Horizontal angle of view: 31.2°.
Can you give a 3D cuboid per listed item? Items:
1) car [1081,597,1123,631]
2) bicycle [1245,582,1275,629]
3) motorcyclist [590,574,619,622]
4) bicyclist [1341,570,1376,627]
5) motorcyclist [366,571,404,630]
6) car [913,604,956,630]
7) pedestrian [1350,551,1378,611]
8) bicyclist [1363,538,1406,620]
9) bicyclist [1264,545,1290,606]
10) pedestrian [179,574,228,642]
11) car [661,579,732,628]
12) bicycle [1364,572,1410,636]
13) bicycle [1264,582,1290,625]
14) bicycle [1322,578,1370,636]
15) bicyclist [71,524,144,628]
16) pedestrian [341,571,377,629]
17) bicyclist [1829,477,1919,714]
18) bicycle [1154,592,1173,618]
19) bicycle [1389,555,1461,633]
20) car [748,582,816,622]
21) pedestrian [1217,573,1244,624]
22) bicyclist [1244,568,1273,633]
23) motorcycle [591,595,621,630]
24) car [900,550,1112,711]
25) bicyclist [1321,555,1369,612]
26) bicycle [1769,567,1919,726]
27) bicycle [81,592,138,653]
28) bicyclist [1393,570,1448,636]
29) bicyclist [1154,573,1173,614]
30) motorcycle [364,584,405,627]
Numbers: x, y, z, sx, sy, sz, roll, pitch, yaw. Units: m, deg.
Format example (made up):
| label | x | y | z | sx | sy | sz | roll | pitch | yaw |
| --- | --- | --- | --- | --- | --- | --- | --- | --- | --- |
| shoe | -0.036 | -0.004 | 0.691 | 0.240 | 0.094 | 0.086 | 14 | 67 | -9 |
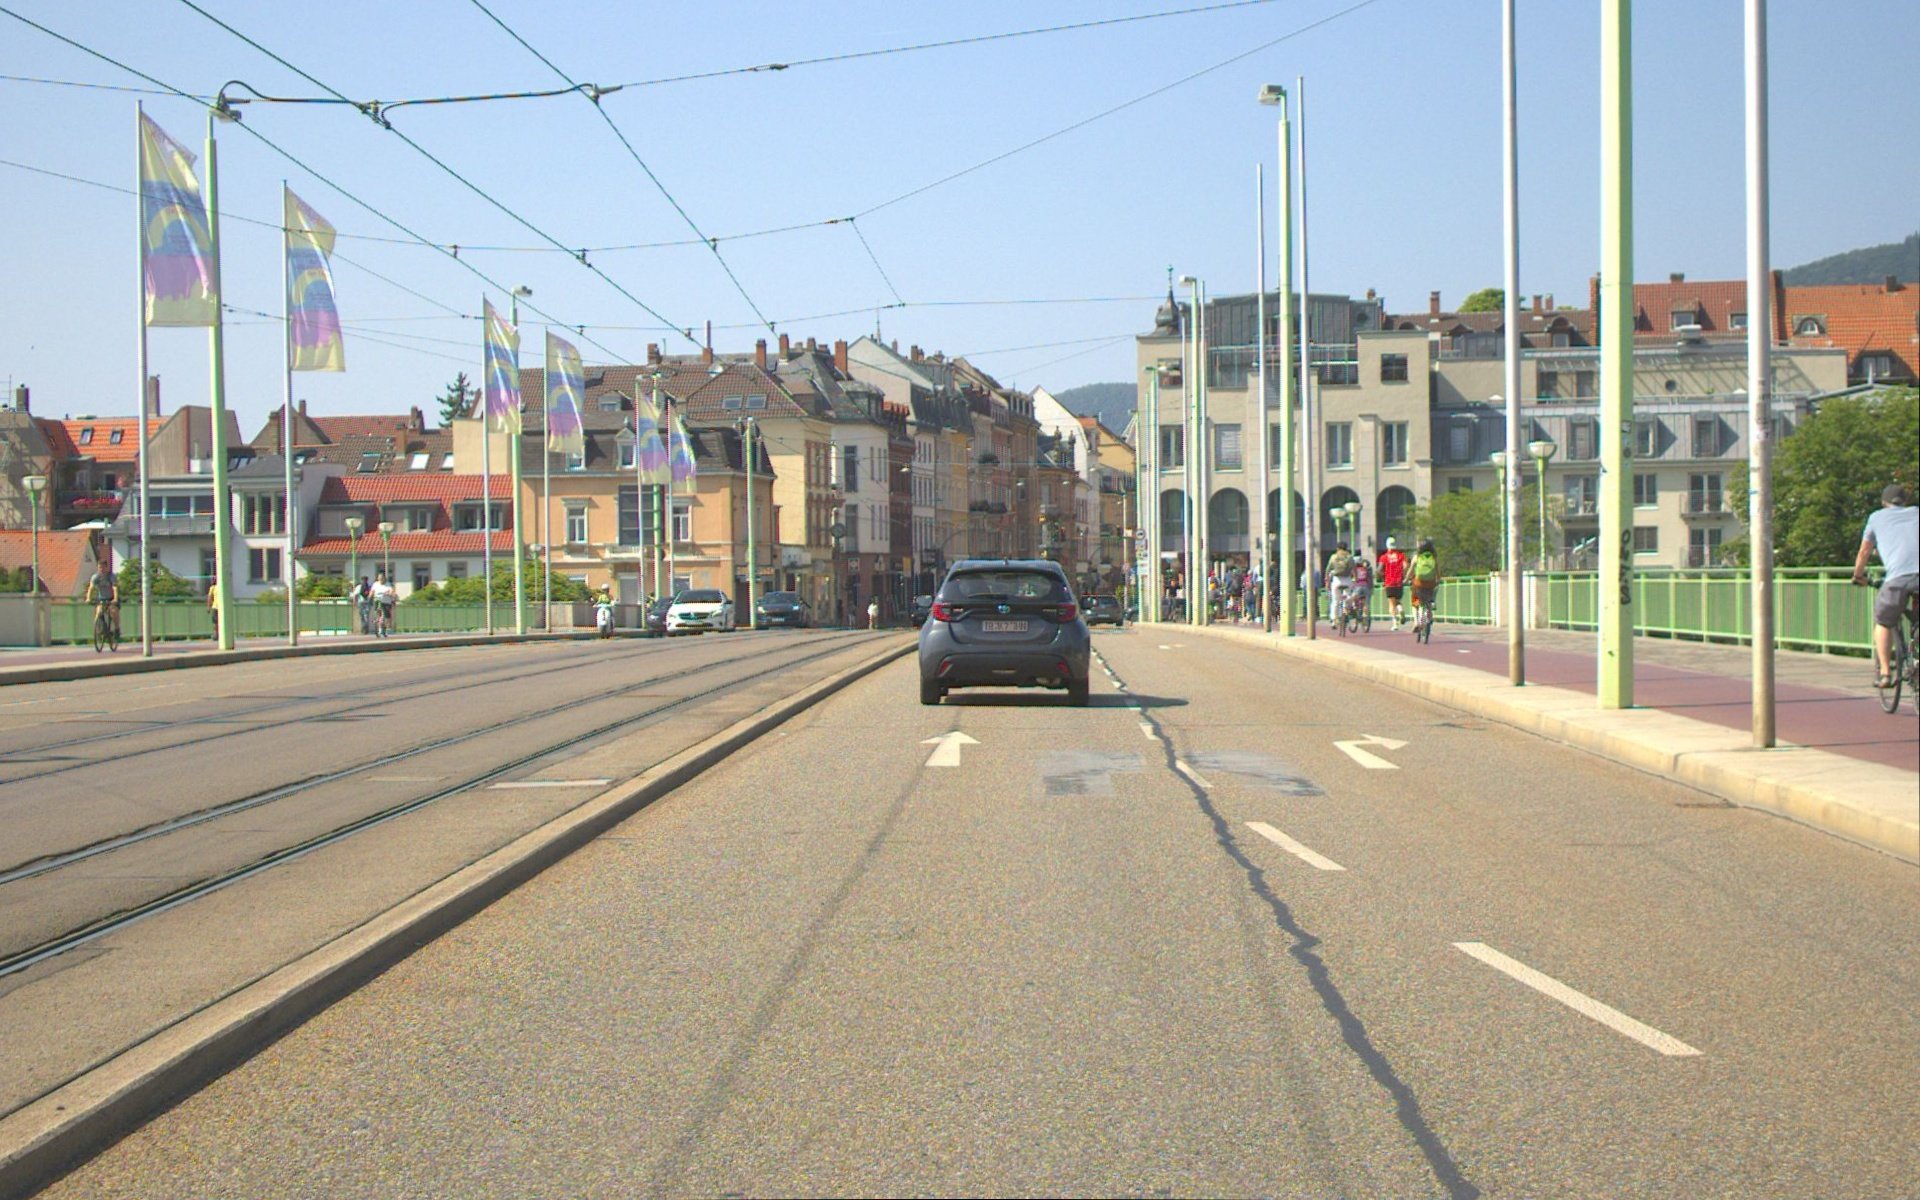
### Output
| label | x | y | z | sx | sy | sz | roll | pitch | yaw |
| --- | --- | --- | --- | --- | --- | --- | --- | --- | --- |
| car | 6.553 | 0.622 | 158.705 | 1.804 | 1.464 | 4.000 | -2 | 0 | 4 |
| bicycle | 7.767 | 0.135 | 89.166 | 0.593 | 1.174 | 1.940 | -1 | 0 | 0 |
| motorcyclist | -11.496 | -0.068 | 111.337 | 0.827 | 1.568 | 0.832 | -1 | 0 | 1 |
| bicyclist | 7.733 | -0.028 | 66.691 | 0.599 | 1.098 | 0.852 | -1 | 0 | 11 |
| motorcyclist | -15.260 | 0.018 | 91.286 | 0.800 | 1.544 | 1.069 | -1 | 0 | 1 |
| car | -1.526 | 1.031 | 207.030 | 1.994 | 1.474 | 3.999 | -1 | 0 | 8 |
| pedestrian | 10.743 | -0.515 | 91.425 | 0.599 | 1.580 | 0.867 | -1 | 0 | -1 |
| bicyclist | 8.533 | -0.416 | 69.063 | 0.735 | 1.630 | 0.867 | -1 | 0 | 0 |
| bicyclist | 8.738 | -0.680 | 94.765 | 0.627 | 1.684 | 0.869 | -1 | 0 | 0 |
| pedestrian | -18.457 | 0.199 | 83.895 | 0.899 | 1.652 | 1.028 | 0 | 0 | 4 |
| car | -8.090 | 0.087 | 105.169 | 1.993 | 1.404 | 4.548 | -1 | 1 | -6 |
| bicycle | 8.557 | 0.068 | 69.011 | 0.618 | 1.266 | 2.216 | -1 | 0 | 0 |
| bicycle | 8.745 | 0.094 | 94.980 | 0.526 | 1.174 | 2.029 | -1 | 0 | 0 |
| bicycle | 7.050 | 0.124 | 62.907 | 0.618 | 1.034 | 2.051 | -1 | 0 | 0 |
| bicyclist | -16.144 | -0.461 | 65.136 | 1.097 | 1.954 | 1.129 | -1 | 1 | -1 |
| pedestrian | -18.007 | -0.009 | 103.005 | 0.830 | 1.716 | 1.094 | -1 | 0 | 2 |
| bicyclist | 7.066 | -0.042 | 25.902 | 0.673 | 1.738 | 1.150 | -1 | 1 | -3 |
| bicycle | 8.065 | 0.199 | 136.063 | 0.653 | 0.978 | 2.178 | -2 | 0 | 5 |
| bicycle | 7.367 | -0.094 | 54.513 | 0.695 | 1.189 | 2.079 | -1 | 0 | -4 |
| car | -7.311 | 0.078 | 141.516 | 1.994 | 1.594 | 4.336 | -1 | 0 | 8 |
| pedestrian | 9.022 | -0.067 | 114.701 | 0.834 | 1.683 | 0.869 | -1 | 1 | 1 |
| bicyclist | 7.751 | 0.001 | 89.148 | 0.656 | 1.670 | 0.869 | -1 | 0 | 0 |
| motorcycle | -11.458 | 0.387 | 111.194 | 0.701 | 1.106 | 2.179 | -1 | 0 | 1 |
| car | 0.423 | 0.276 | 36.197 | 1.910 | 1.535 | 4.001 | -1 | 1 | -3 |
| bicyclist | 7.041 | -0.306 | 62.957 | 0.735 | 1.027 | 1.175 | -1 | 0 | 0 |
| bicycle | 7.067 | 0.311 | 26.053 | 0.792 | 1.092 | 3.745 | -1 | 1 | -3 |
| bicycle | -16.106 | 0.415 | 65.143 | 0.588 | 1.093 | 2.113 | -1 | 1 | -1 |
| bicyclist | 7.348 | 0.048 | 54.879 | 0.666 | 1.041 | 0.980 | -1 | 0 | -4 |
| bicyclist | 8.053 | -0.252 | 136.128 | 0.653 | 1.561 | 1.337 | -2 | 0 | 5 |
| motorcycle | -15.278 | 0.138 | 91.295 | 0.701 | 1.106 | 2.179 | -1 | 0 | 1 |
